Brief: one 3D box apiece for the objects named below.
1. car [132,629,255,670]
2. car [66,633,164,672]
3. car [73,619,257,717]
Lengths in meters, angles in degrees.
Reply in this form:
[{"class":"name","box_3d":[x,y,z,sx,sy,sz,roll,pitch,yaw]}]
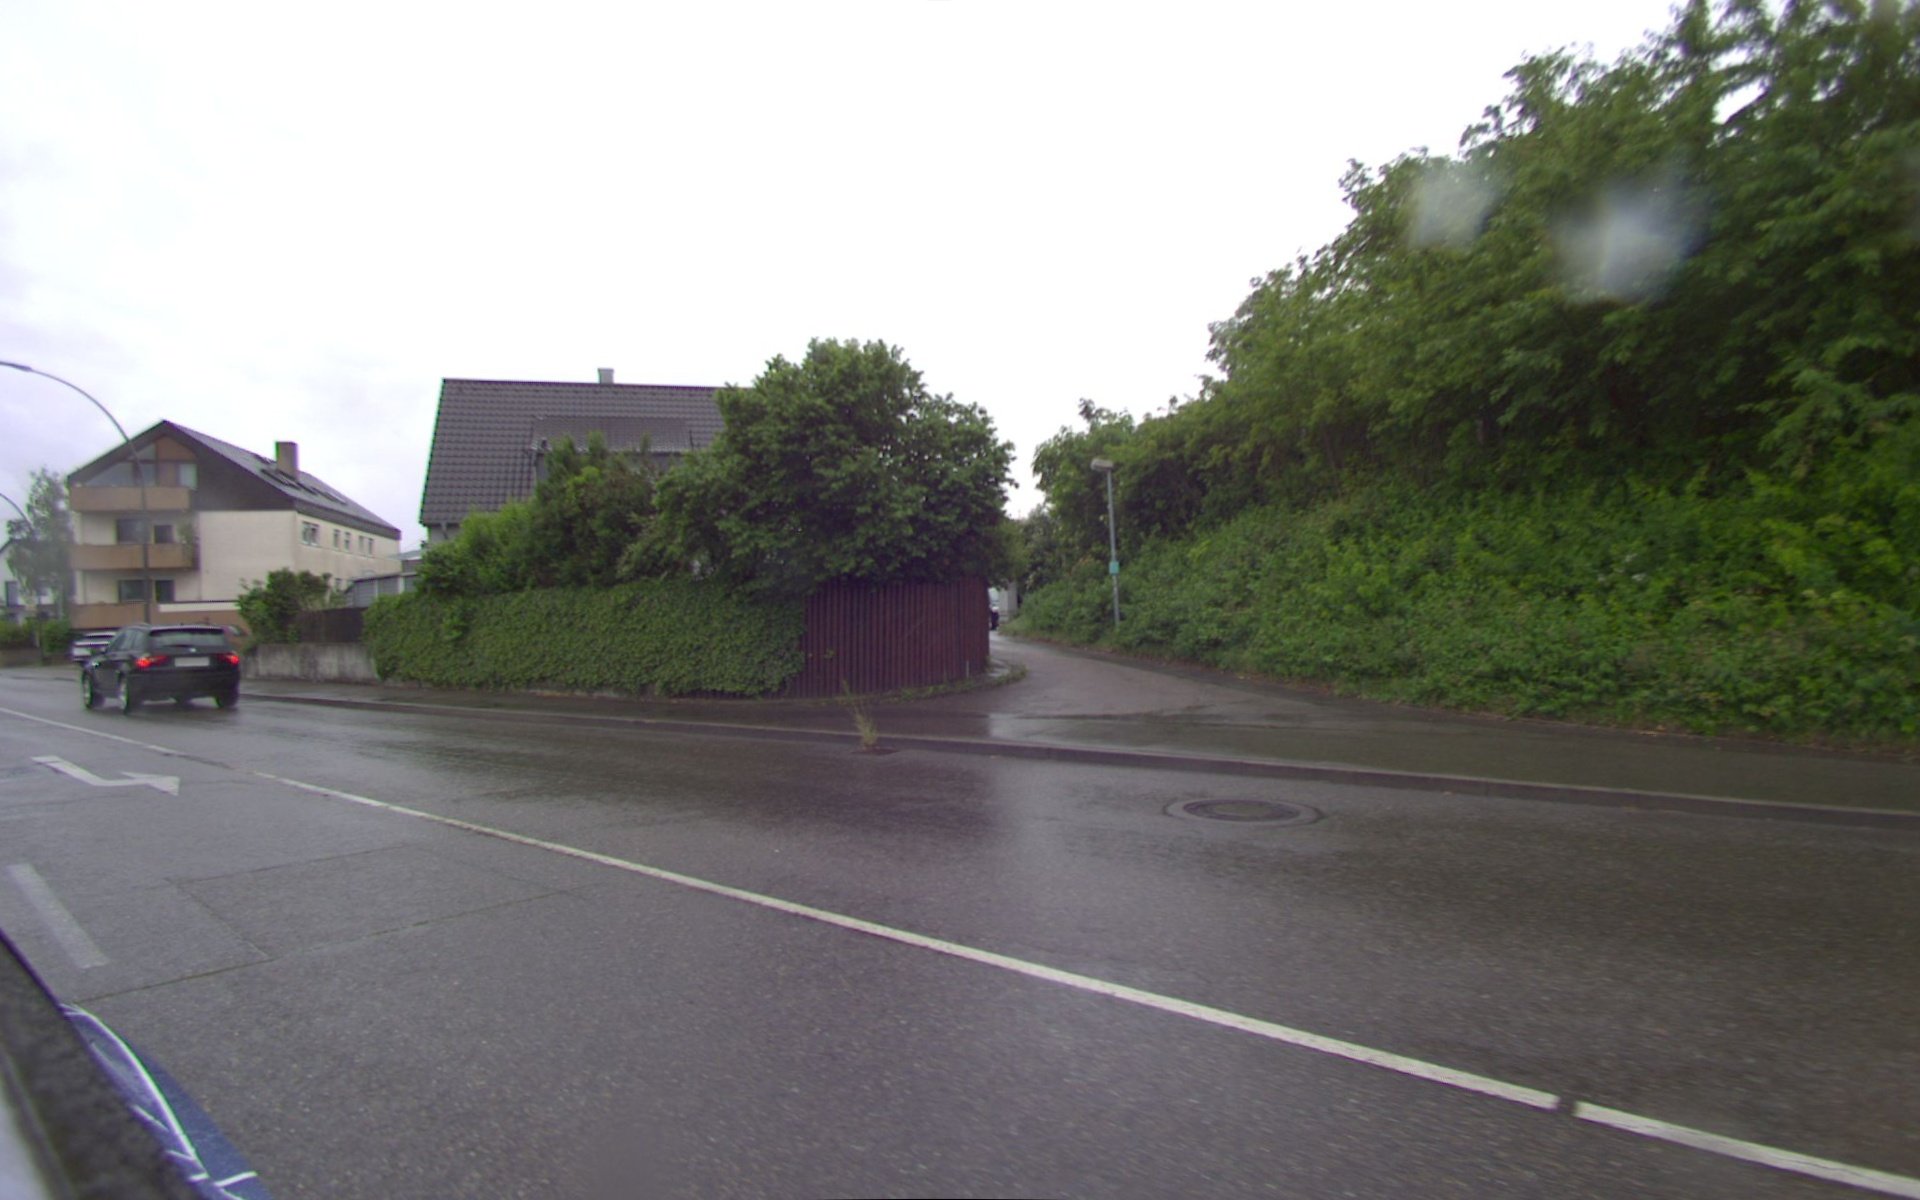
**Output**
[{"class":"car","box_3d":[-31.556,2.011,41.764,3.609,1.530,1.759,-1,-1,-14]},{"class":"car","box_3d":[-37.014,2.269,44.439,1.837,1.530,4.012,-1,-1,-16]},{"class":"car","box_3d":[-15.828,1.270,20.070,4.412,1.680,1.974,-2,-1,39]}]
